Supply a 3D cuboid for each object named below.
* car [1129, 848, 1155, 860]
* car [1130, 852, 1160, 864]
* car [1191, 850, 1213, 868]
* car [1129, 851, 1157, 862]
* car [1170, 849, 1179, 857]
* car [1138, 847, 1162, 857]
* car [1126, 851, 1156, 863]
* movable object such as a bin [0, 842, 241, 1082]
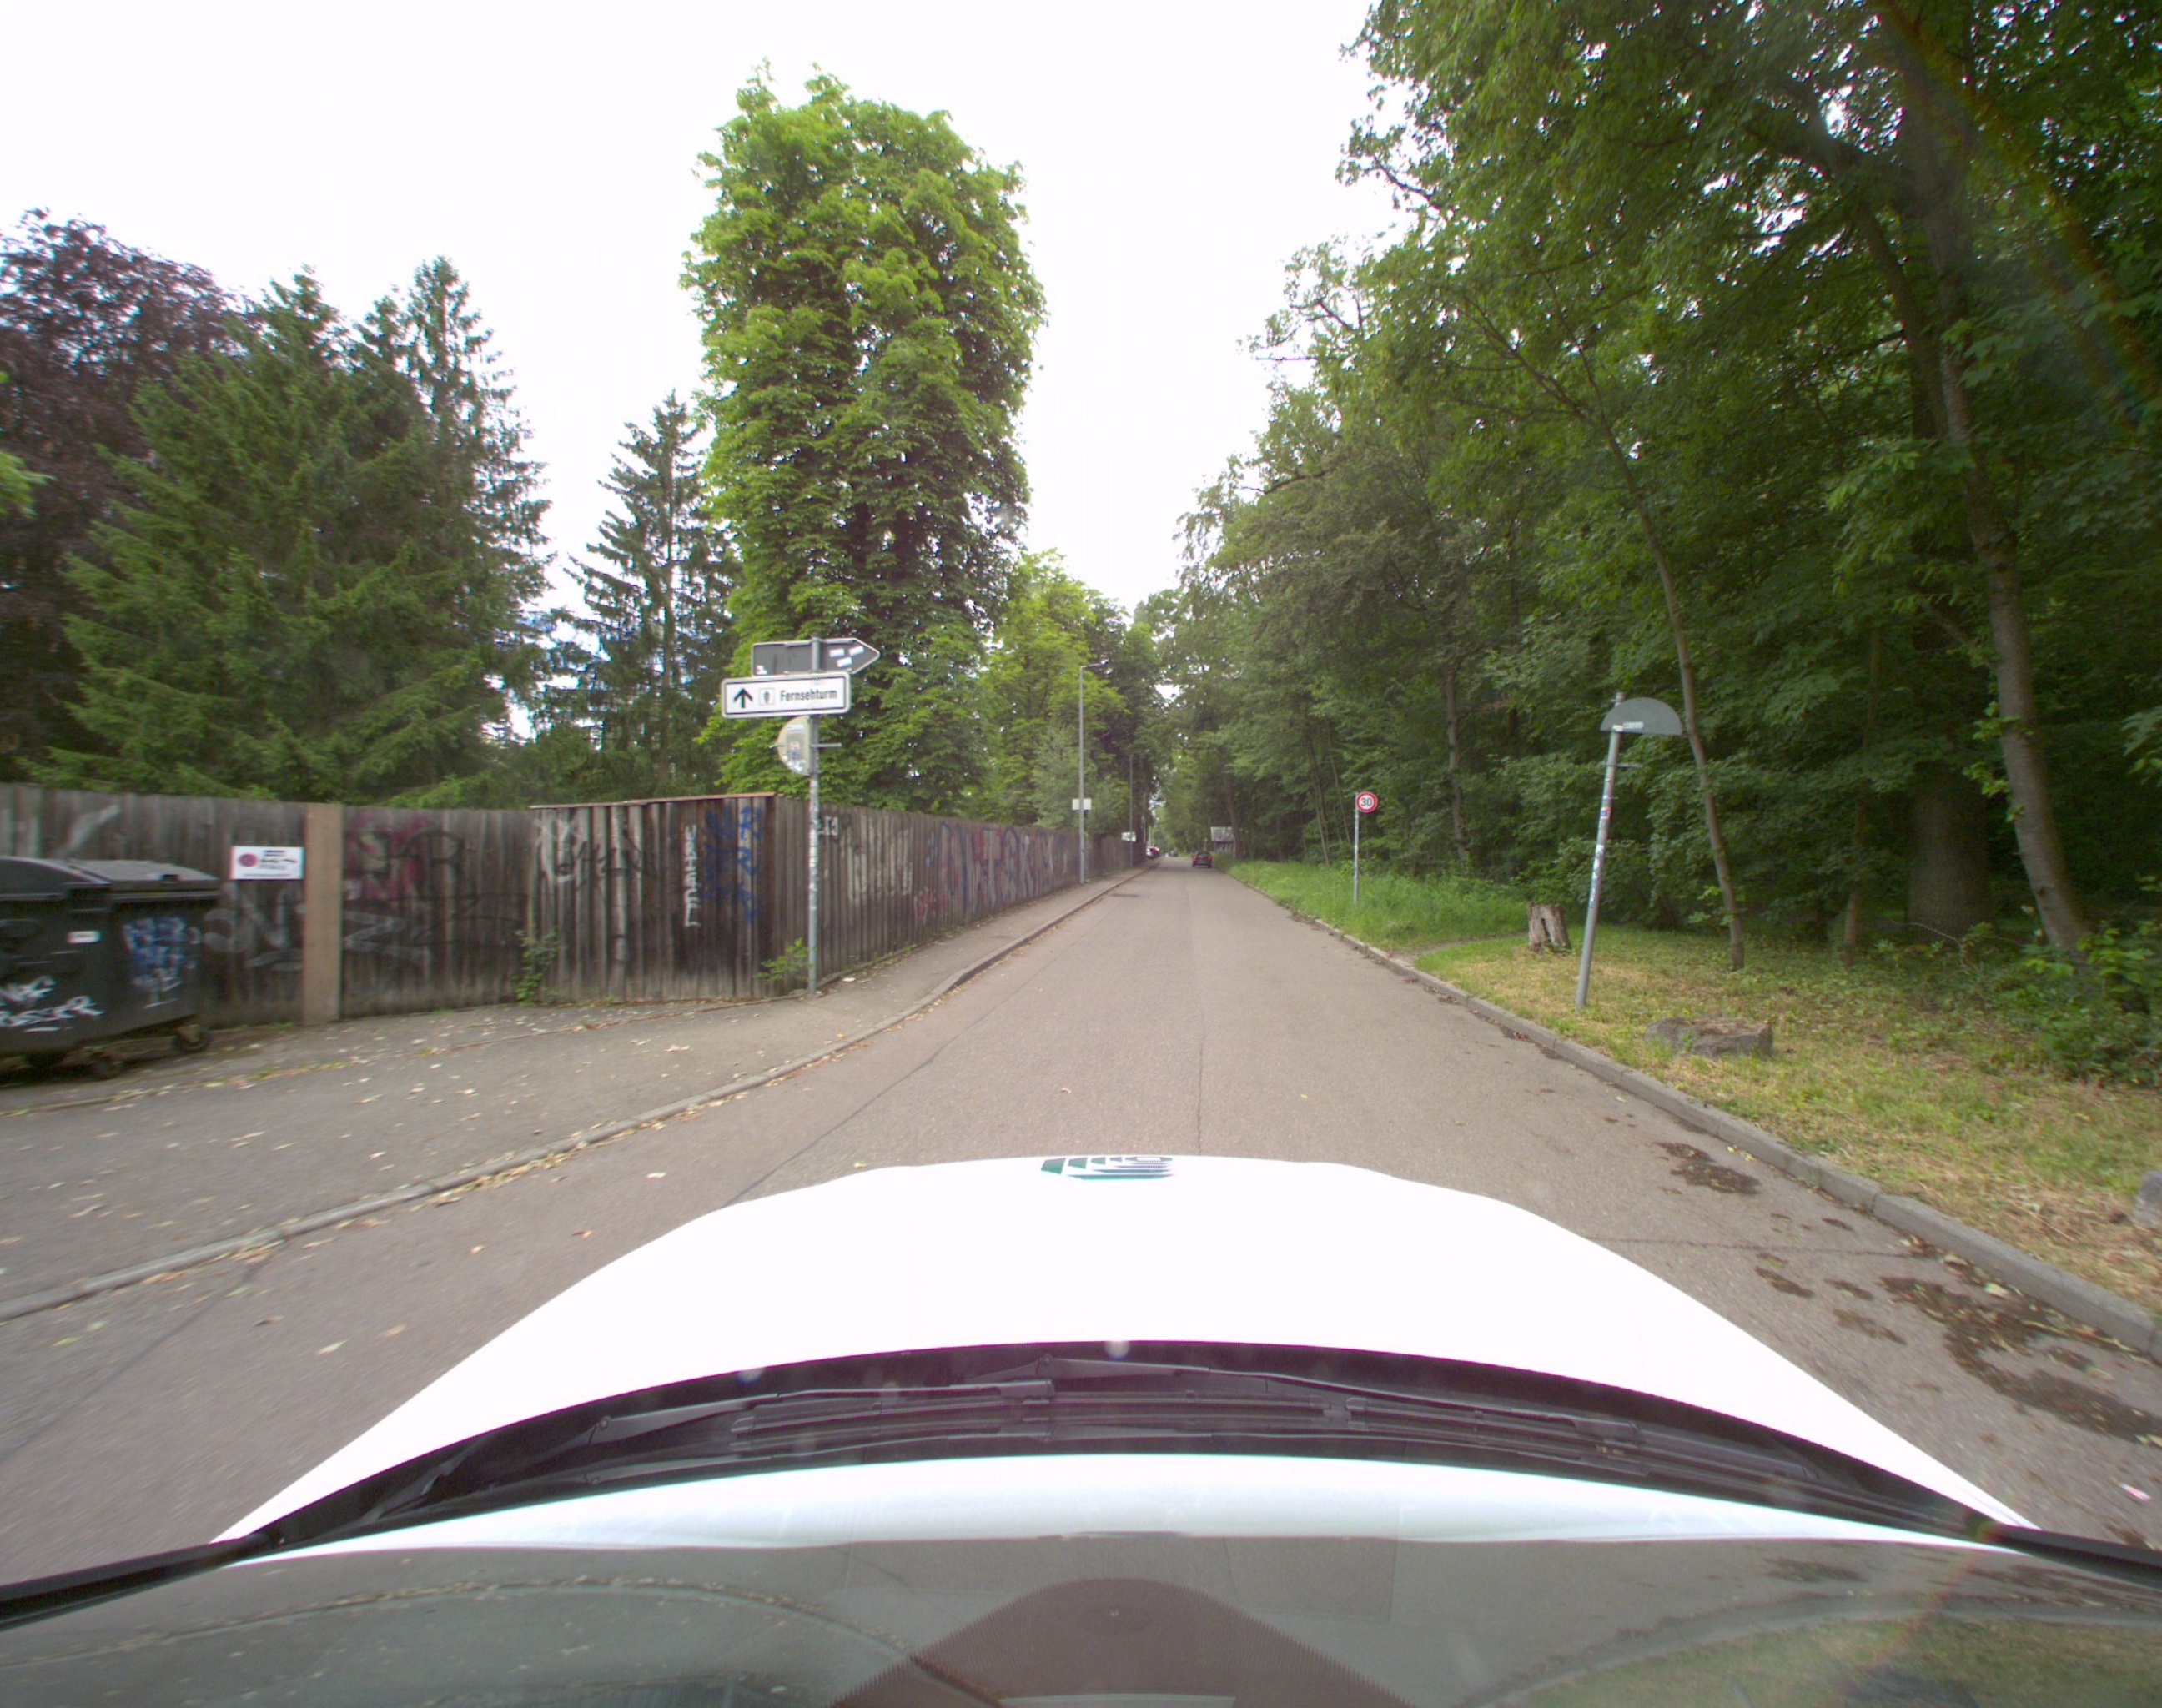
[{"bbox_3d":[9.125,-0.018,121.819,3.970,1.750,2.002,0,0,3],"label":"car"},{"bbox_3d":[8.486,0.506,108.734,3.970,1.574,2.002,0,0,3],"label":"car"},{"bbox_3d":[10.819,0.424,72.889,1.897,1.508,4.009,3,0,8],"label":"car"},{"bbox_3d":[8.886,0.324,116.717,3.970,1.574,2.002,0,0,3],"label":"car"},{"bbox_3d":[23.892,-0.140,208.202,1.986,2.013,4.002,0,0,2],"label":"car"},{"bbox_3d":[11.876,-0.406,140.342,3.966,1.596,1.768,-2,-1,6],"label":"car"},{"bbox_3d":[8.206,0.372,111.120,3.970,1.574,2.002,0,0,3],"label":"car"},{"bbox_3d":[-6.760,0.668,5.538,1.081,1.442,1.275,-1,-1,-27],"label":"movable object such as a bin"}]
